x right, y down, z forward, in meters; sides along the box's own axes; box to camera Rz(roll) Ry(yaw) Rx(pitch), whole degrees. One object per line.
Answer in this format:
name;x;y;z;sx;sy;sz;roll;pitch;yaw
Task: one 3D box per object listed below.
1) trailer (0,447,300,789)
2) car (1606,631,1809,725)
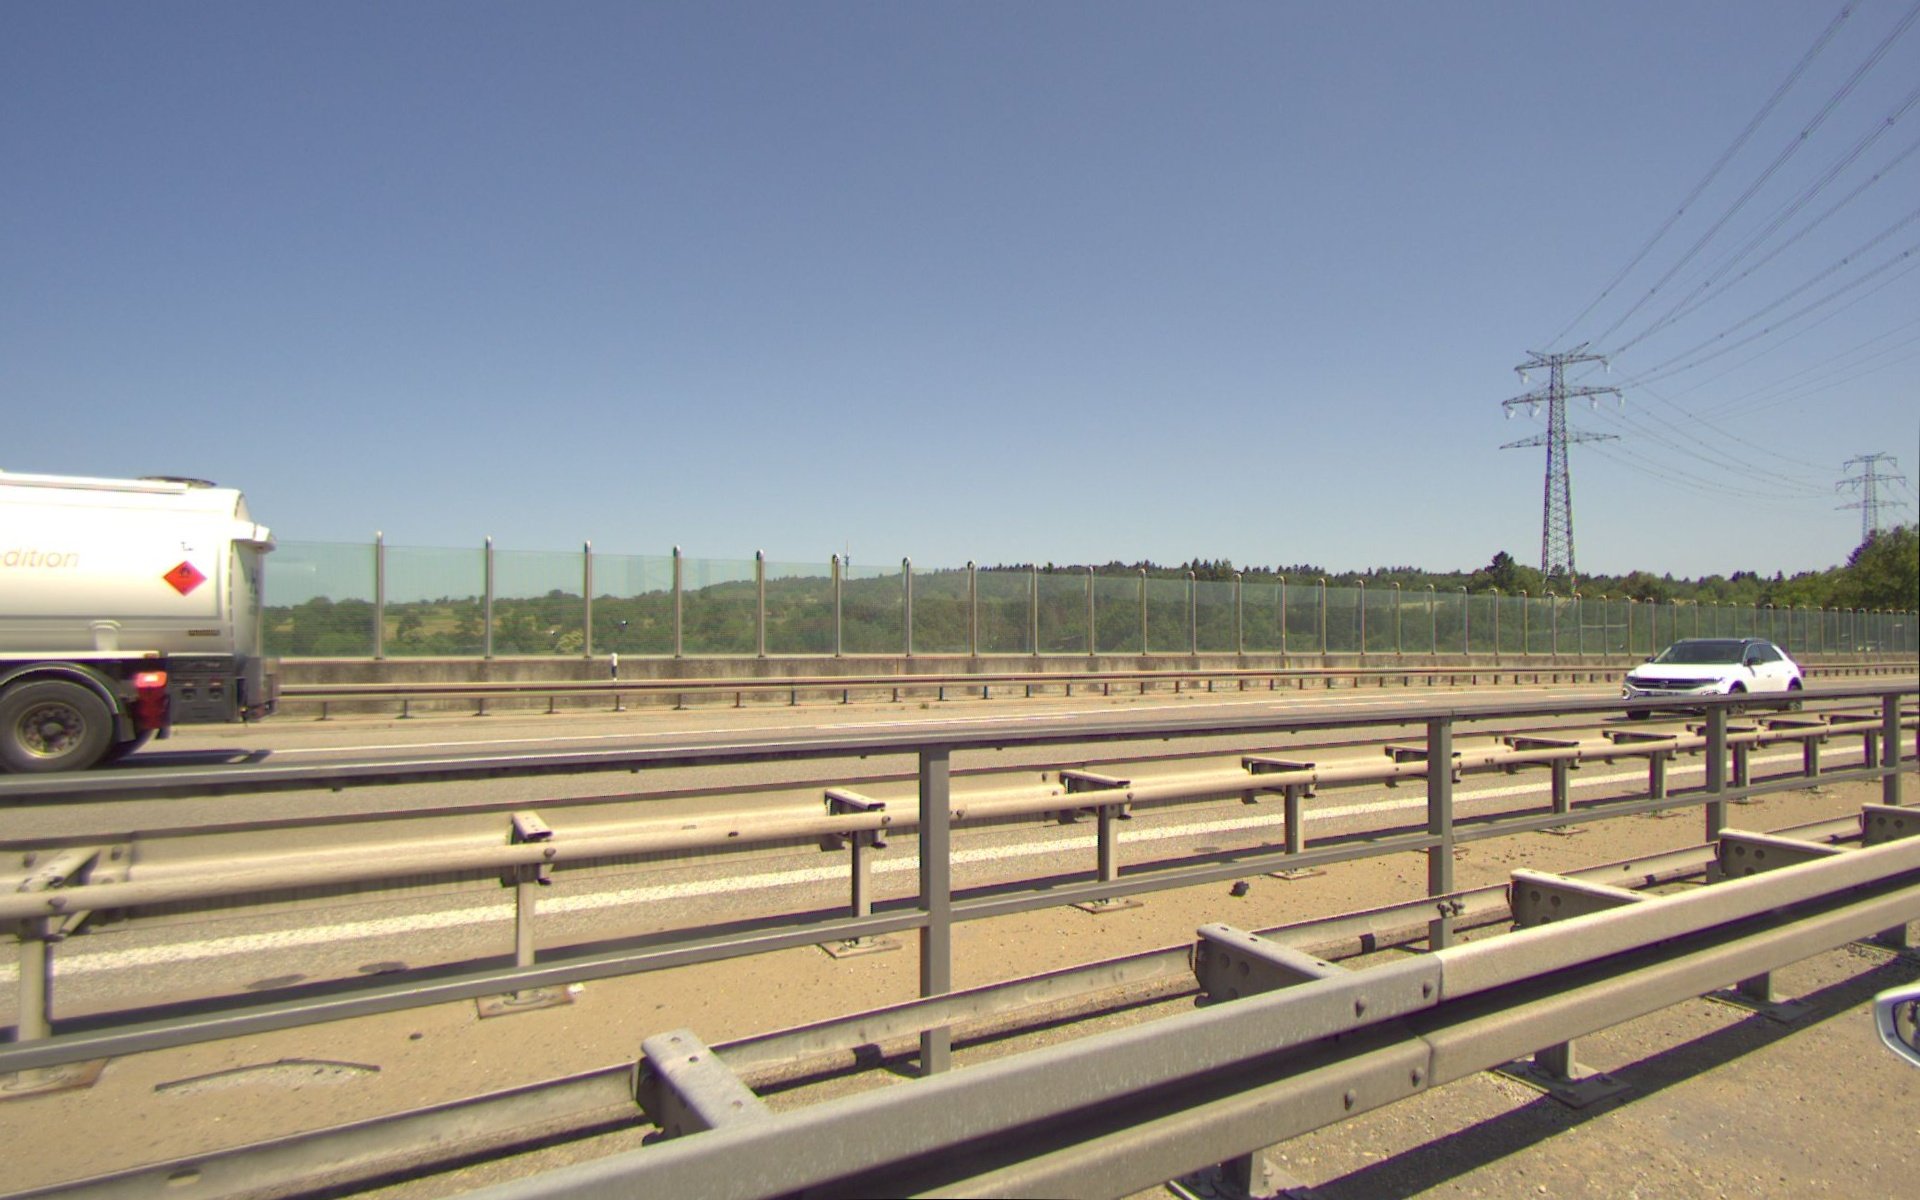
trailer;-13.285;0.122;10.155;10.774;3.586;2.487;2;-3;-30
car;14.538;1.480;19.507;3.955;1.661;1.797;2;-4;-31
